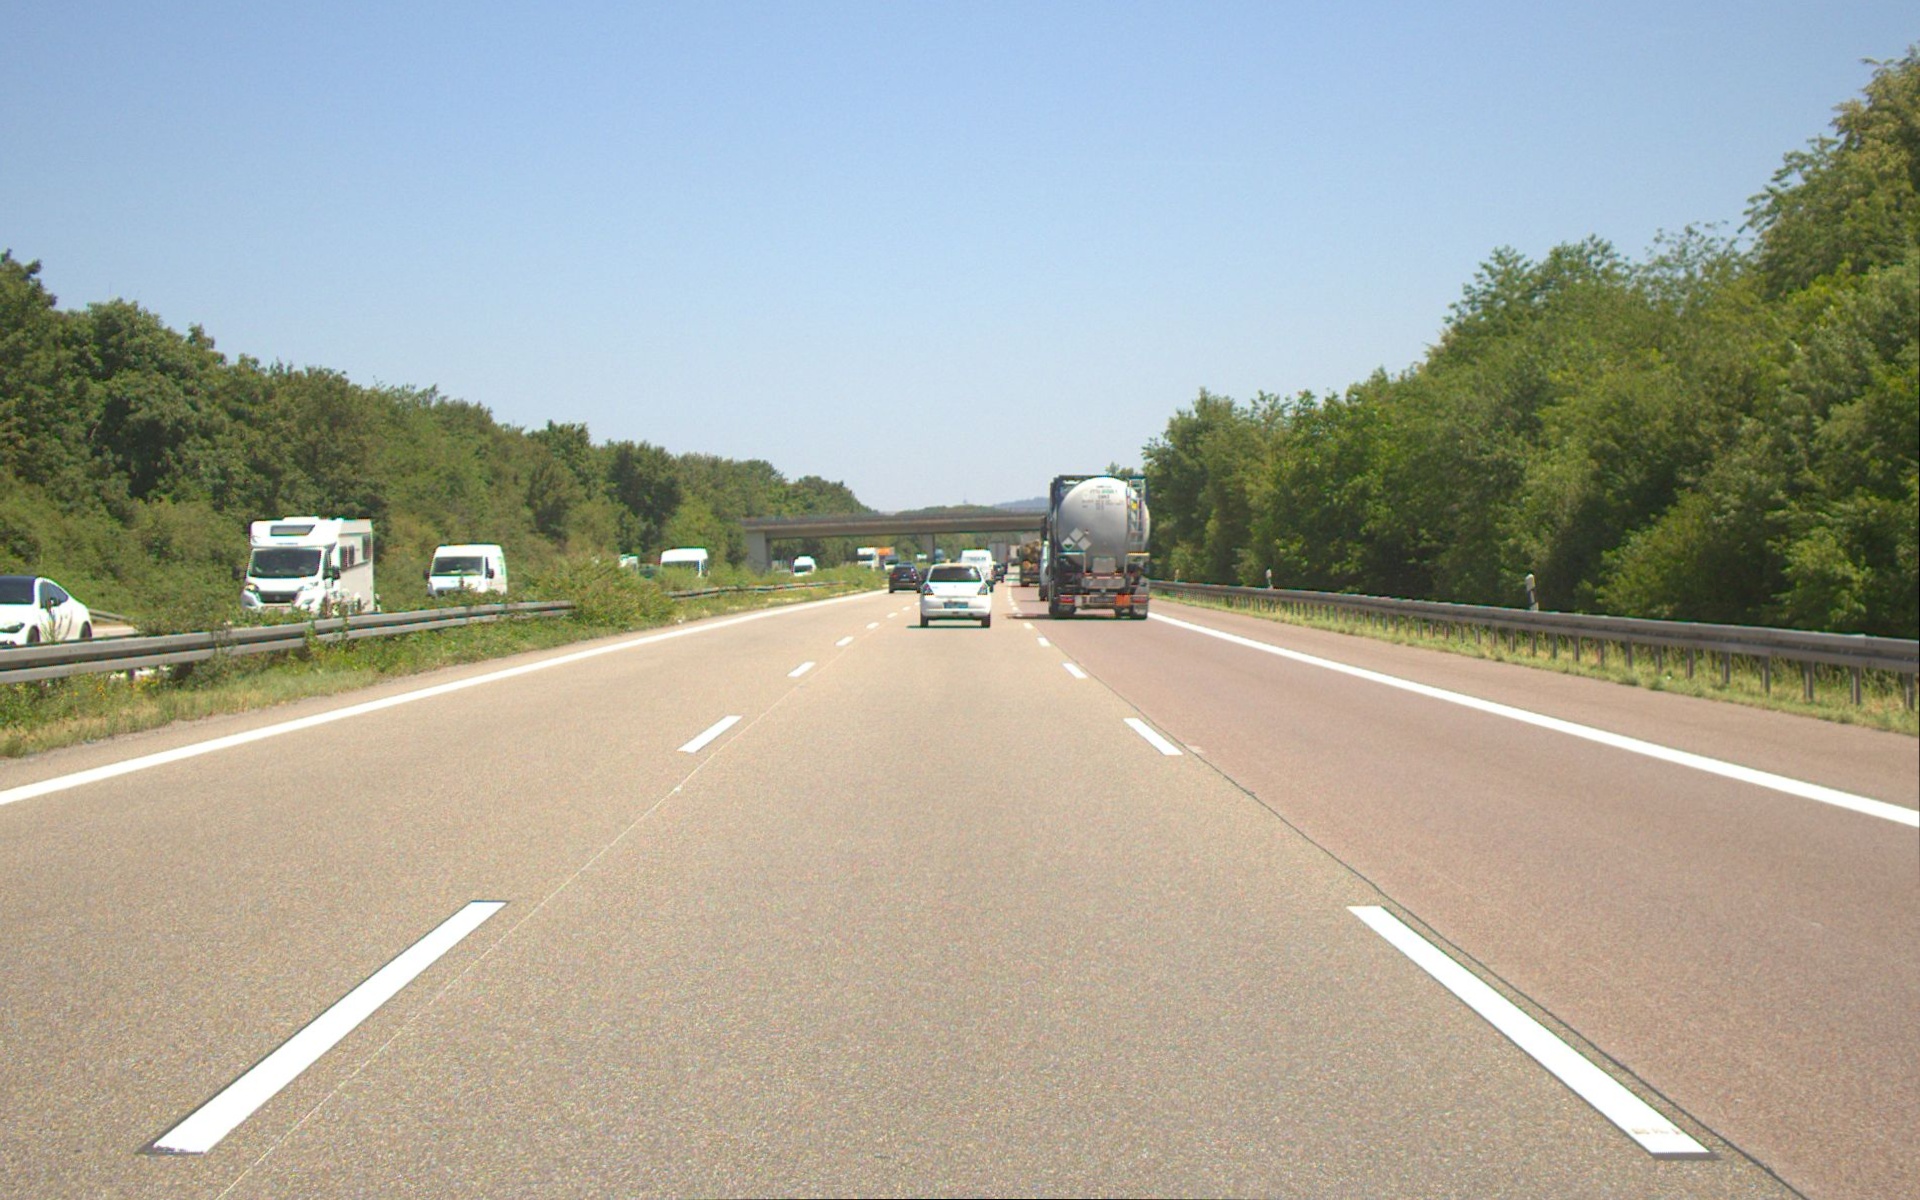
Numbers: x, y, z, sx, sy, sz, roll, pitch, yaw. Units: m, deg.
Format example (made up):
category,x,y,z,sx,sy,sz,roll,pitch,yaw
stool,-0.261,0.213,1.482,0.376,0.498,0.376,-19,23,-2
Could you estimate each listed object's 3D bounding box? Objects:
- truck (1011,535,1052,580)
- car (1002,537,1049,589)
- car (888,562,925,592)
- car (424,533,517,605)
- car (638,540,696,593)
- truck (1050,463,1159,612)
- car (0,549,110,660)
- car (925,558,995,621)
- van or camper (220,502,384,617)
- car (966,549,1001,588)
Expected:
category,x,y,z,sx,sy,sz,roll,pitch,yaw
truck,5.218,-3.071,251.936,2.915,3.229,6.344,1,0,0
car,2.847,-1.615,149.564,1.993,2.217,4.786,0,1,0
car,-3.076,-1.338,198.264,1.993,1.719,4.786,0,1,0
car,-17.036,-1.099,119.913,2.214,2.433,6.419,-1,1,1
car,-13.386,-1.541,157.226,1.993,2.392,6.165,-1,1,1
truck,4.030,-1.747,98.122,2.739,4.038,10.454,0,1,0
car,-14.338,0.026,51.870,1.812,1.590,5.010,0,1,0
car,-0.014,-0.272,82.485,1.627,1.474,4.000,0,1,0
van or camper,-17.017,-1.062,89.411,2.513,2.839,8.026,0,1,2
car,1.387,-1.895,205.217,1.993,2.335,4.387,0,1,2
